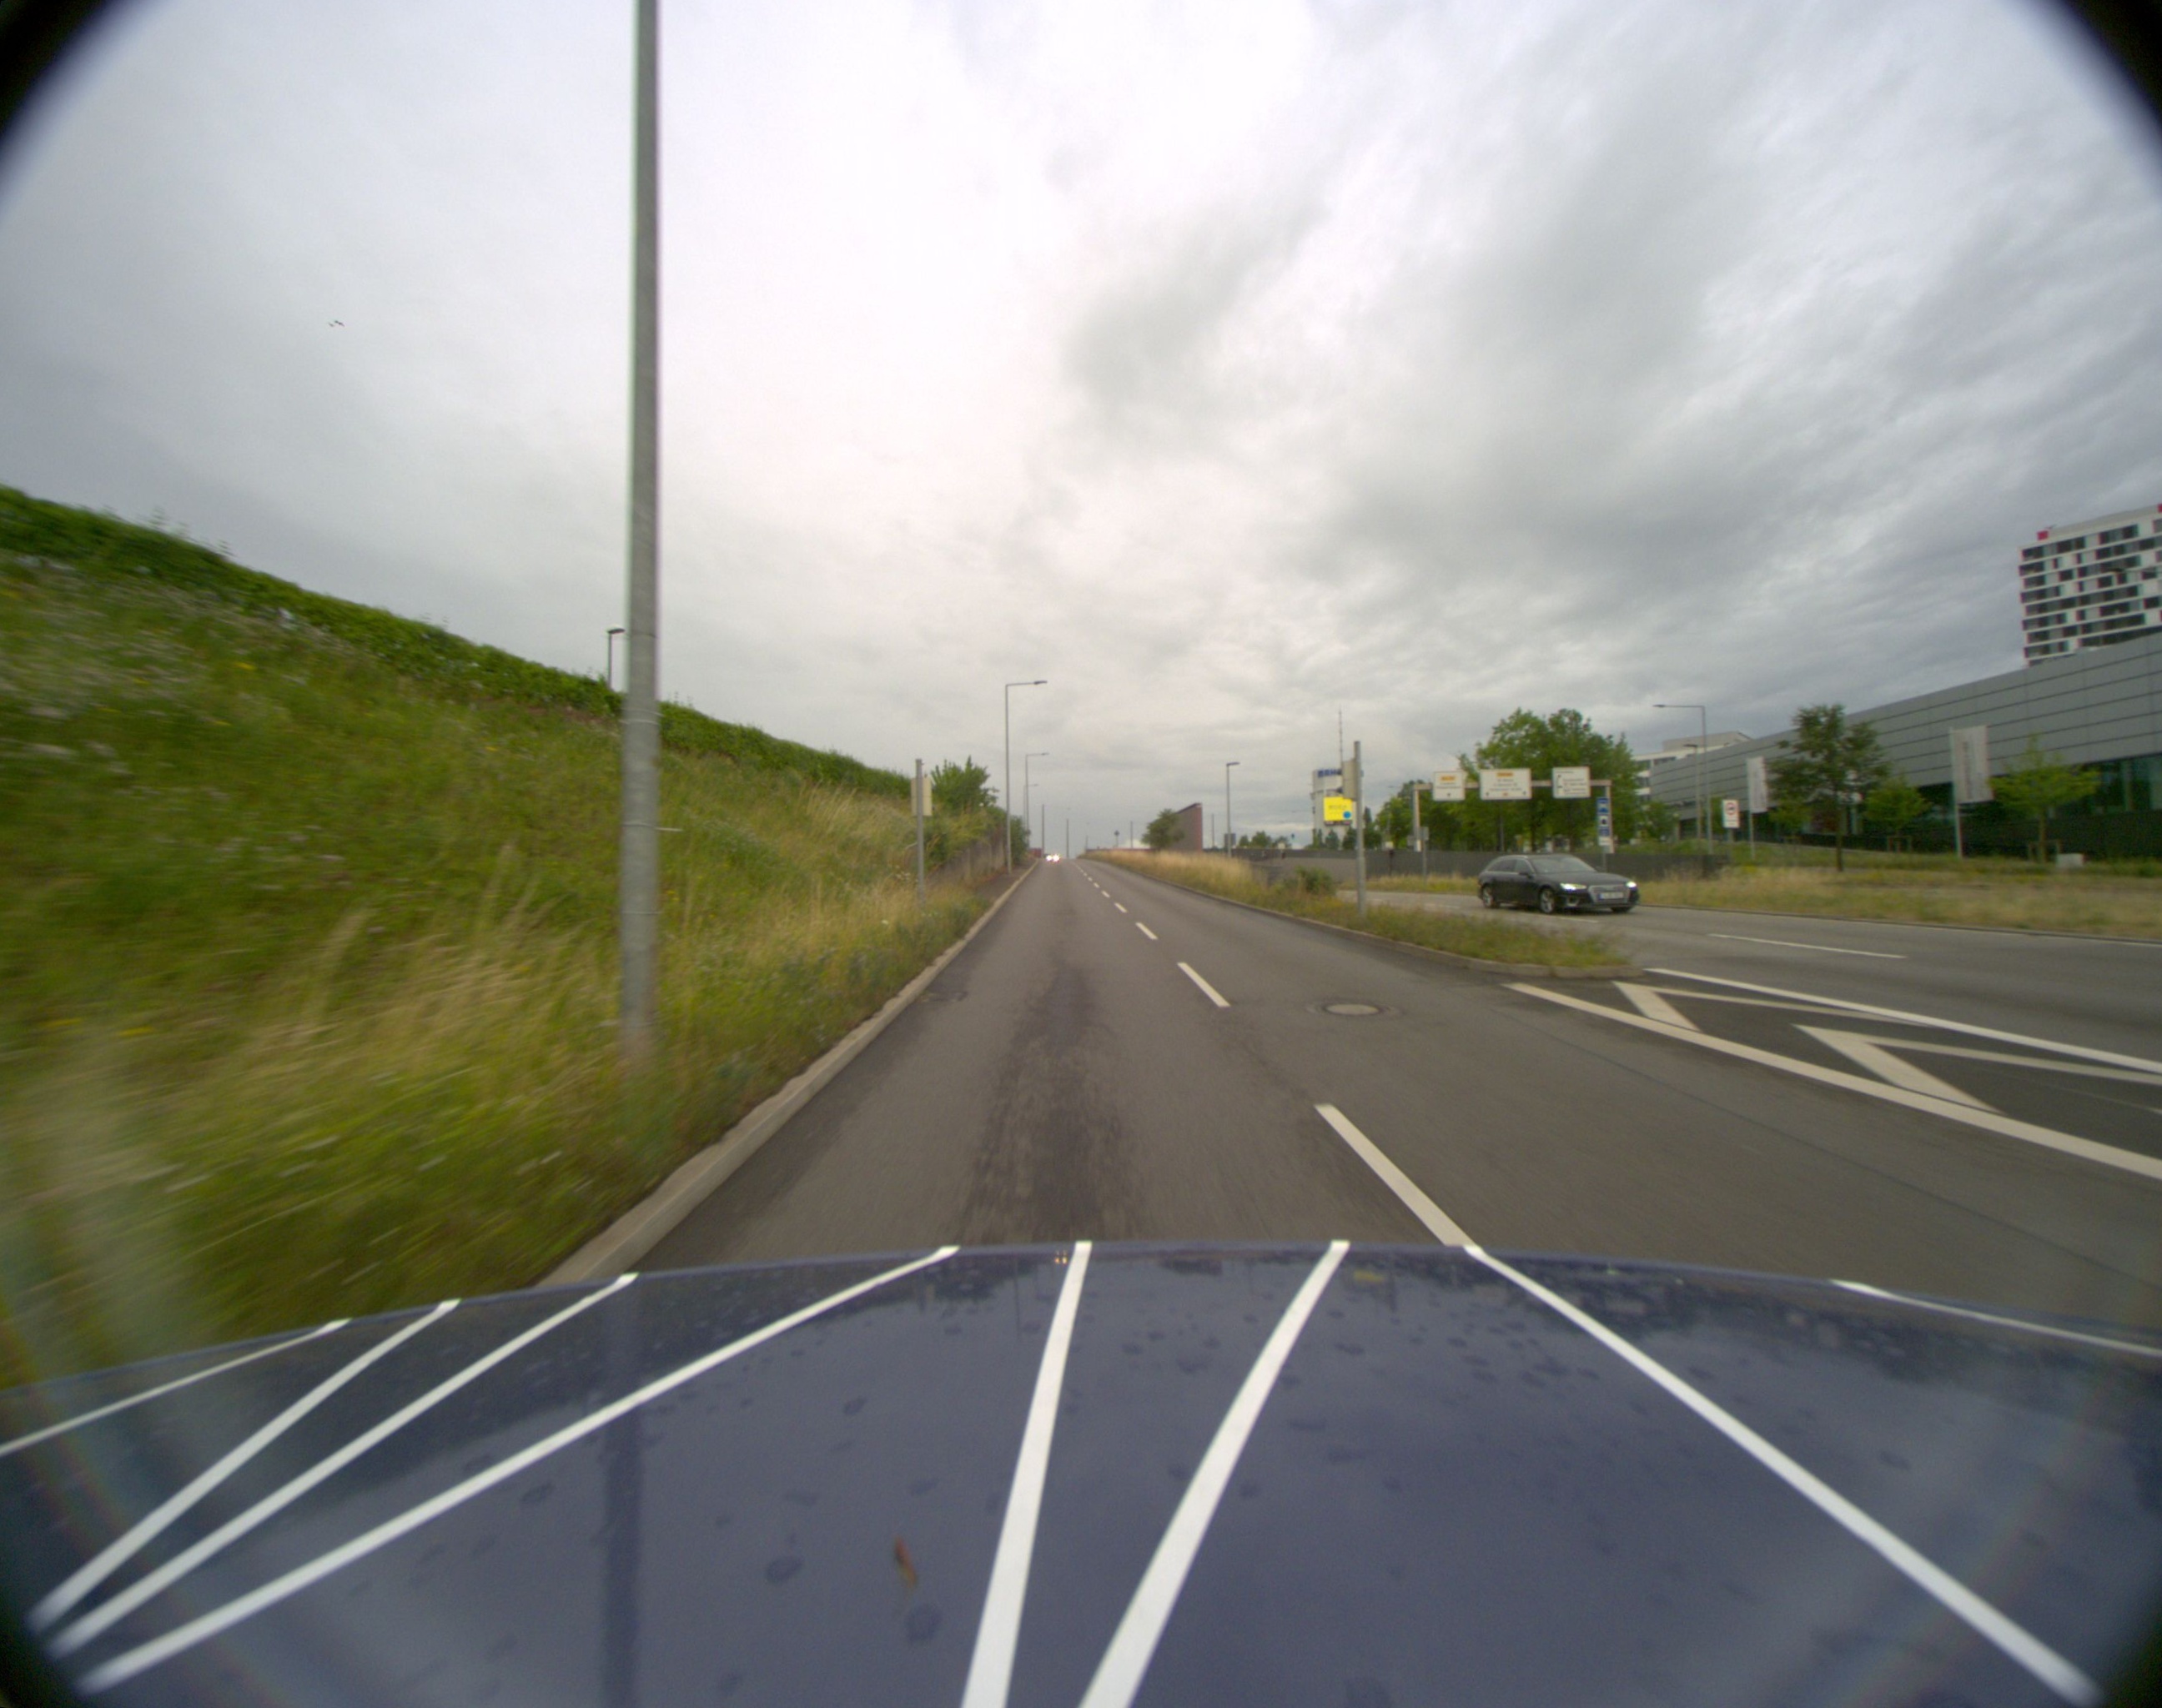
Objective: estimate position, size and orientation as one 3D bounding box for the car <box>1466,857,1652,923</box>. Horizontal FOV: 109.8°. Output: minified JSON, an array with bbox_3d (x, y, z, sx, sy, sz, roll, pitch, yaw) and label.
[{"bbox_3d":[11.612,0.845,18.912,1.814,1.410,4.633,-1,-1,2],"label":"car"}]
